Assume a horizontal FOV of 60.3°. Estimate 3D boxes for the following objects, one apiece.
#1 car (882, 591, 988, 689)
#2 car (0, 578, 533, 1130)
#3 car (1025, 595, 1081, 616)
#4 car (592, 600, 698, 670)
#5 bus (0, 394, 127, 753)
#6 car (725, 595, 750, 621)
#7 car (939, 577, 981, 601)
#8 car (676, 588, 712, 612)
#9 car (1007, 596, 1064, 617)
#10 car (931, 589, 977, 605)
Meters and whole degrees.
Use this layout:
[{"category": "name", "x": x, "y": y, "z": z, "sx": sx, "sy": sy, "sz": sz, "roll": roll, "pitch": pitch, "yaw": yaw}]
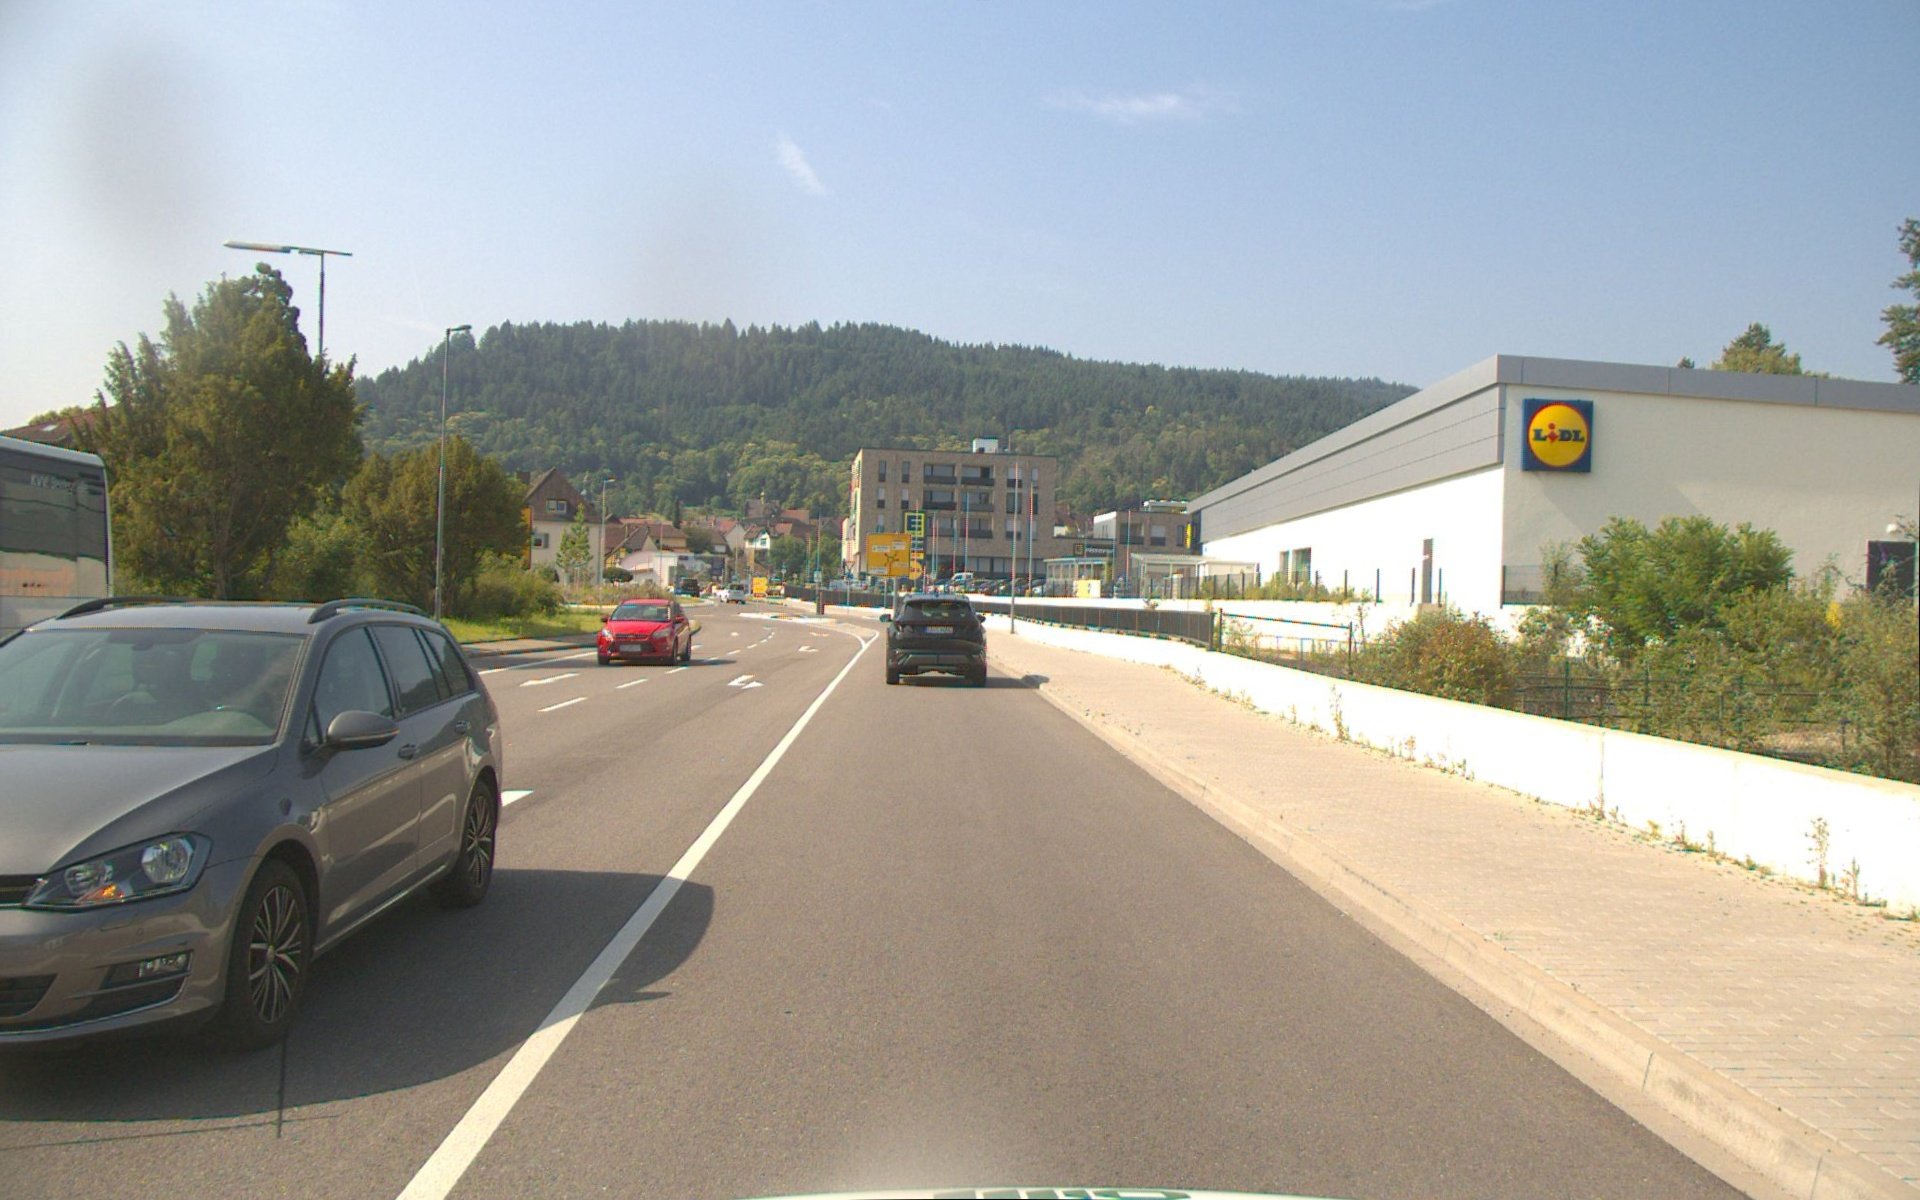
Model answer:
[{"category": "car", "x": -0.405, "y": 0.730, "z": 31.337, "sx": 1.842, "sy": 1.713, "sz": 4.000, "roll": 1, "pitch": -1, "yaw": 1}, {"category": "car", "x": -3.093, "y": 0.703, "z": 6.609, "sx": 1.736, "sy": 1.499, "sz": 4.218, "roll": 1, "pitch": -1, "yaw": -2}, {"category": "car", "x": 6.760, "y": 0.399, "z": 120.432, "sx": 3.750, "sy": 1.388, "sz": 1.670, "roll": 2, "pitch": 0, "yaw": -21}, {"category": "car", "x": -7.404, "y": 0.809, "z": 39.239, "sx": 1.800, "sy": 1.518, "sz": 4.429, "roll": 1, "pitch": -1, "yaw": -2}, {"category": "bus", "x": -10.160, "y": -0.306, "z": 12.005, "sx": 2.568, "sy": 3.368, "sz": 11.950, "roll": 1, "pitch": -1, "yaw": -2}, {"category": "car", "x": -17.922, "y": 0.630, "z": 133.130, "sx": 1.956, "sy": 2.049, "sz": 3.993, "roll": 1, "pitch": -1, "yaw": -8}, {"category": "car", "x": 0.033, "y": -1.011, "z": 156.812, "sx": 3.905, "sy": 2.173, "sz": 2.000, "roll": 1, "pitch": -1, "yaw": 1}, {"category": "car", "x": -23.360, "y": 0.041, "z": 145.435, "sx": 1.951, "sy": 2.049, "sz": 4.003, "roll": 1, "pitch": -1, "yaw": 10}, {"category": "car", "x": 5.633, "y": 0.461, "z": 123.293, "sx": 4.003, "sy": 1.428, "sz": 1.477, "roll": 2, "pitch": 0, "yaw": -21}, {"category": "car", "x": -0.510, "y": -0.246, "z": 140.907, "sx": 3.503, "sy": 1.220, "sz": 1.704, "roll": 2, "pitch": 0, "yaw": -20}]
